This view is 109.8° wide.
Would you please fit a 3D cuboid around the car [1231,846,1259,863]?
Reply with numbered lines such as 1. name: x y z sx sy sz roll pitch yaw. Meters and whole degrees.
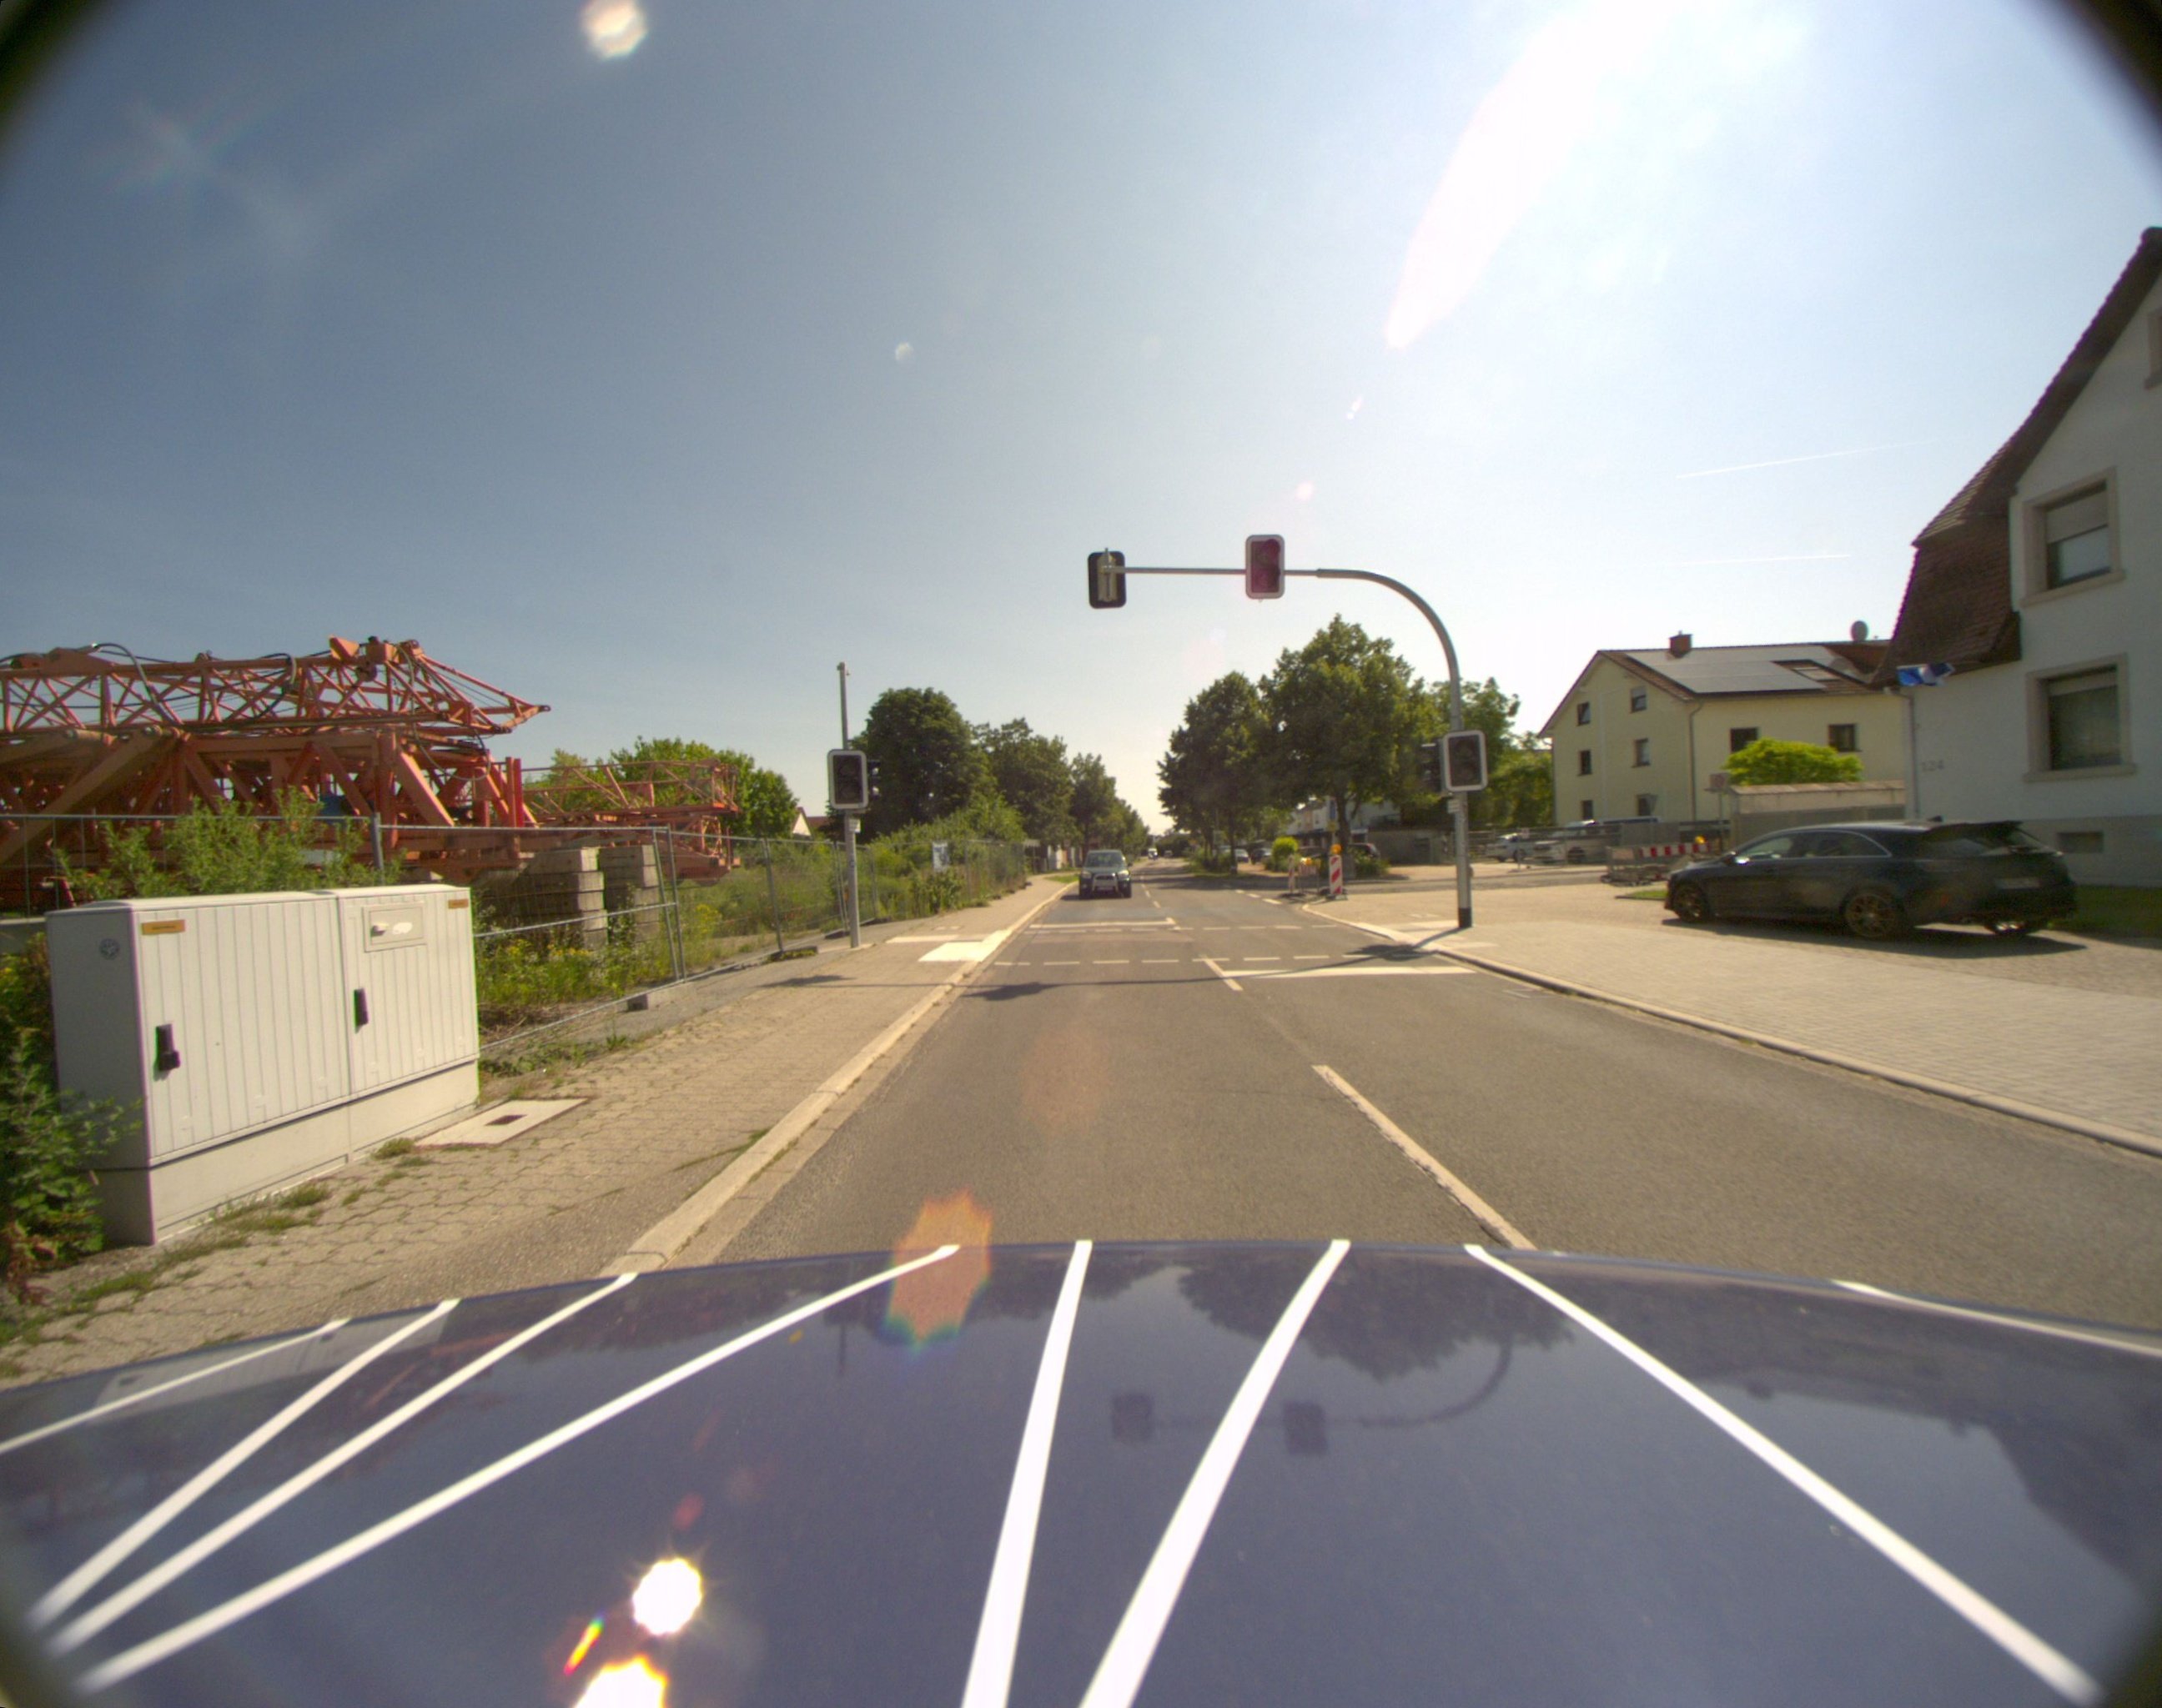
1. car: 15.963 0.027 74.174 1.998 1.496 4.001 -2 0 4

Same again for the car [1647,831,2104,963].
1. car: 10.165 0.410 10.369 1.719 1.399 4.397 -1 1 2

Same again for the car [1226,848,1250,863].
1. car: 17.051 0.140 82.904 1.998 1.496 4.001 -2 0 4

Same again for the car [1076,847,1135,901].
1. car: 0.838 0.704 27.247 1.849 1.686 4.399 -3 -1 1

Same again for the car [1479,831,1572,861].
1. car: 24.772 -0.431 42.471 3.997 1.496 2.000 -2 0 0

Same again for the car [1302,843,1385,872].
1. car: 14.763 0.210 42.733 3.989 1.496 2.004 -2 0 33

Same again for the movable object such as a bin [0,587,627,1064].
1. movable object such as a bin: -13.665 -0.072 7.657 16.095 3.995 2.773 -2 1 -2

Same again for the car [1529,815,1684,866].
1. car: 23.651 -0.598 34.320 5.624 2.033 2.000 -2 0 -1

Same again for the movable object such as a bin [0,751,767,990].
1. movable object such as a bin: -13.906 0.275 15.830 13.290 4.141 2.862 -2 1 -2
